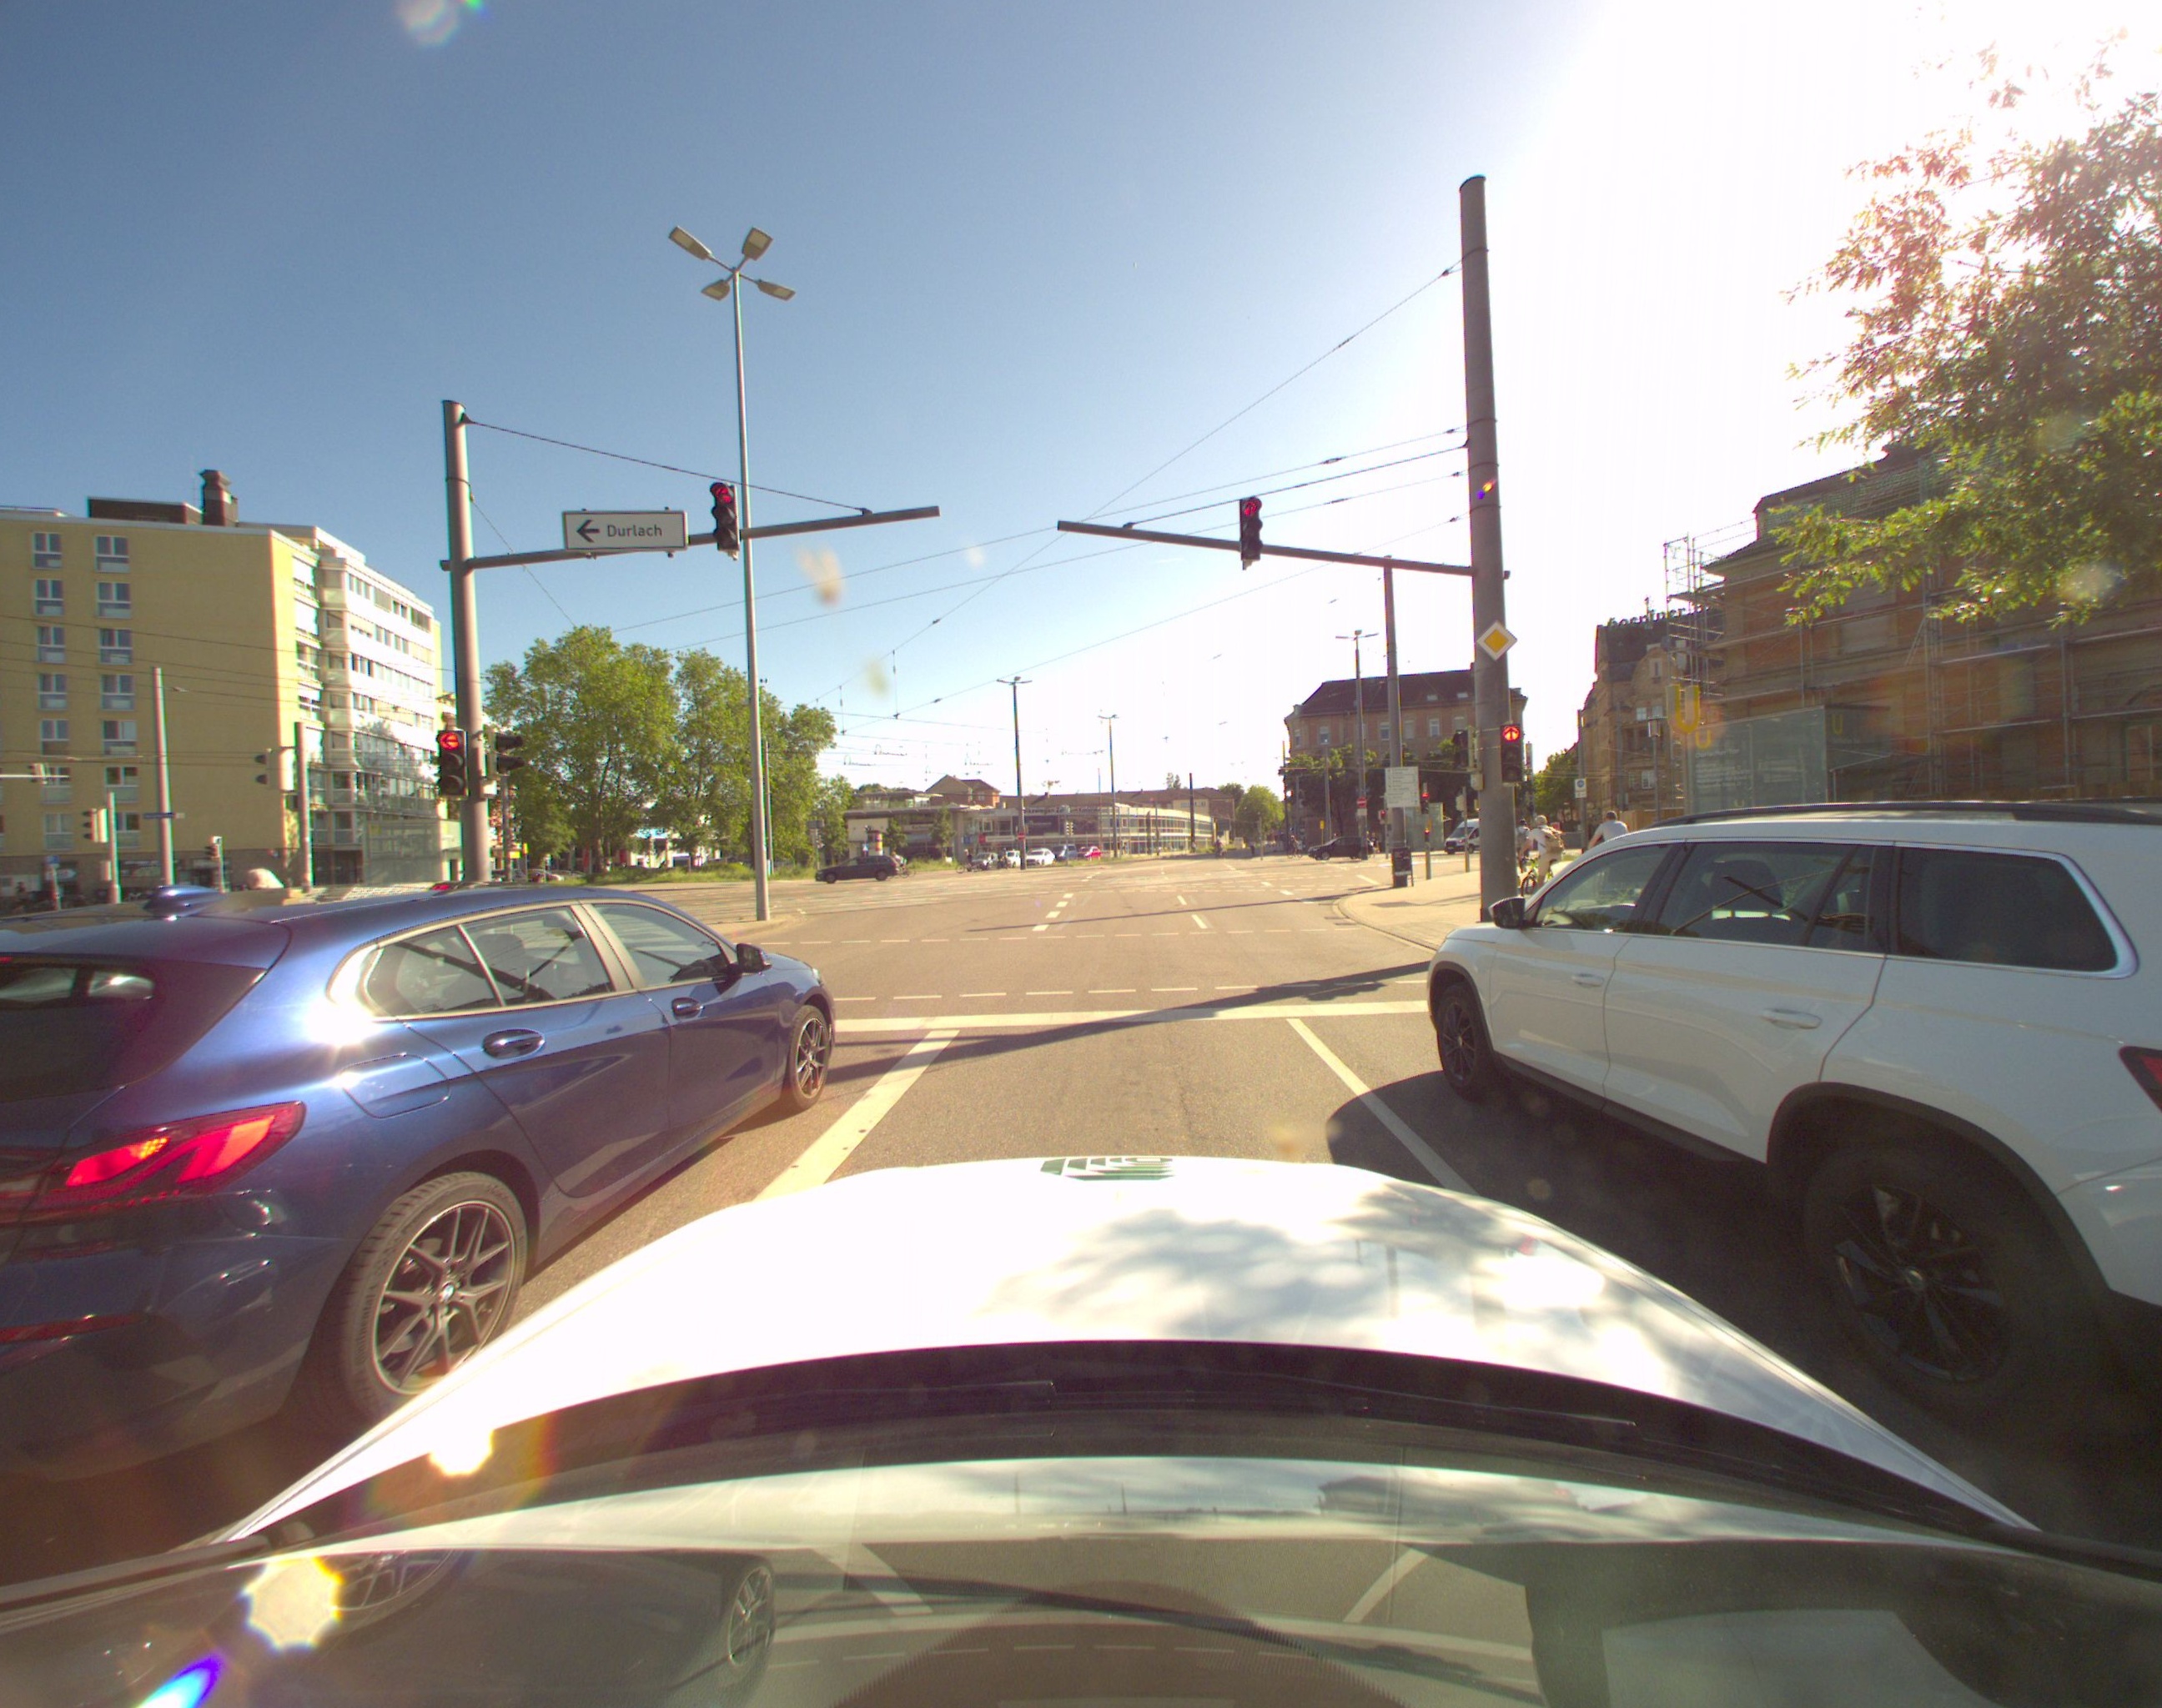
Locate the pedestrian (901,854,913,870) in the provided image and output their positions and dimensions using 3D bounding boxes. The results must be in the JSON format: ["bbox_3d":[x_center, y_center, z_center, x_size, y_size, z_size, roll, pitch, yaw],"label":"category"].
[{"bbox_3d":[-12.178,0.554,57.153,0.749,1.127,0.421,-2,0,-18],"label":"pedestrian"}]

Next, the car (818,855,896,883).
[{"bbox_3d":[-12.892,0.824,46.901,4.221,1.400,1.848,-2,0,-17],"label":"car"}]

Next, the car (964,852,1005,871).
[{"bbox_3d":[-7.648,0.548,64.989,1.689,1.354,3.719,-2,0,20],"label":"car"}]

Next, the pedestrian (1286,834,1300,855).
[{"bbox_3d":[17.323,-0.779,66.610,0.722,1.632,0.749,-2,0,-40],"label":"pedestrian"}]

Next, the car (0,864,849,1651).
[{"bbox_3d":[-2.540,0.804,3.596,1.704,1.445,4.034,-1,0,2],"label":"car"}]

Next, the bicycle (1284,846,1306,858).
[{"bbox_3d":[17.551,-0.162,66.781,1.941,0.870,0.736,-2,0,-41],"label":"bicycle"}]

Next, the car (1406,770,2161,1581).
[{"bbox_3d":[3.044,0.615,3.408,1.689,1.641,4.298,-2,0,1],"label":"car"}]

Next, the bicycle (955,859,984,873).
[{"bbox_3d":[-8.201,0.869,59.755,2.009,0.913,0.559,-2,0,-16],"label":"bicycle"}]

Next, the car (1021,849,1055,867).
[{"bbox_3d":[-3.577,0.329,68.924,1.613,1.382,3.755,-2,0,17],"label":"car"}]

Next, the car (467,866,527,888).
[{"bbox_3d":[-49.050,1.931,68.462,3.741,1.662,1.585,-2,0,-17],"label":"car"}]

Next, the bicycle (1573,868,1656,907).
[{"bbox_3d":[10.276,0.631,15.745,0.536,0.655,1.465,-3,0,-5],"label":"bicycle"}]

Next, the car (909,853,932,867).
[{"bbox_3d":[-20.575,0.763,104.498,1.958,1.706,4.086,-2,0,2],"label":"car"}]

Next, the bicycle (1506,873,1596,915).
[{"bbox_3d":[8.826,0.735,15.374,0.536,0.655,1.722,-5,0,-5],"label":"bicycle"}]

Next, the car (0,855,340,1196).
[{"bbox_3d":[-5.787,0.799,3.252,1.750,1.517,4.015,-1,0,5],"label":"car"}]

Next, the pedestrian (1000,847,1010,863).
[{"bbox_3d":[-6.032,0.093,64.467,0.419,1.204,0.753,-2,0,20],"label":"pedestrian"}]

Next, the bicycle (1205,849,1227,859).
[{"bbox_3d":[12.181,-0.013,73.441,1.934,0.870,0.739,-2,0,-25],"label":"bicycle"}]

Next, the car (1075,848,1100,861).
[{"bbox_3d":[0.691,0.028,89.944,1.613,1.364,3.704,-2,0,19],"label":"car"}]

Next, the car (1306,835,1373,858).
[{"bbox_3d":[18.713,-0.552,59.081,4.240,1.503,1.703,-2,0,-3],"label":"car"}]

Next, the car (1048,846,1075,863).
[{"bbox_3d":[-1.939,0.030,82.901,1.613,1.692,3.702,-2,0,17],"label":"car"}]

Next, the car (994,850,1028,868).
[{"bbox_3d":[-6.060,0.380,70.896,1.613,1.424,3.702,-2,0,17],"label":"car"}]

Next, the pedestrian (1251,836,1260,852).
[{"bbox_3d":[17.749,-1.017,82.818,0.739,1.523,0.722,-2,0,25],"label":"pedestrian"}]

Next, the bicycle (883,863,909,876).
[{"bbox_3d":[-12.558,1.055,55.310,1.635,0.758,0.421,-2,0,-21],"label":"bicycle"}]

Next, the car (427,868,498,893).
[{"bbox_3d":[-45.063,1.907,59.396,3.741,1.662,1.585,-2,0,-17],"label":"car"}]

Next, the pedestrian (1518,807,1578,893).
[{"bbox_3d":[8.799,-0.082,15.358,0.547,1.562,0.856,-2,0,-6],"label":"pedestrian"}]

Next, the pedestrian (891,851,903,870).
[{"bbox_3d":[-12.513,0.441,55.335,0.750,1.204,0.421,-2,0,-21],"label":"pedestrian"}]

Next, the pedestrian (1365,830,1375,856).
[{"bbox_3d":[22.666,-0.841,63.823,0.461,2.013,0.449,-2,0,-15],"label":"pedestrian"}]

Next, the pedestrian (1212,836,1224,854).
[{"bbox_3d":[12.406,-0.824,73.611,0.719,1.632,0.798,-2,0,-26],"label":"pedestrian"}]

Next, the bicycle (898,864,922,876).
[{"bbox_3d":[-12.014,1.131,57.197,1.633,0.718,0.421,-2,0,-18],"label":"bicycle"}]

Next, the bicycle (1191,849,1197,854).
[{"bbox_3d":[17.354,-0.376,124.773,0.418,0.718,1.484,-2,0,29],"label":"bicycle"}]

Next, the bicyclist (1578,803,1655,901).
[{"bbox_3d":[10.248,-0.041,15.619,0.746,1.778,0.922,-3,0,-5],"label":"bicyclist"}]

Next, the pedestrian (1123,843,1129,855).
[{"bbox_3d":[6.491,-0.699,117.032,0.537,1.688,0.634,-2,0,44],"label":"pedestrian"}]

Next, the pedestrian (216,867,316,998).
[{"bbox_3d":[-10.233,0.959,10.238,0.353,1.555,0.765,-2,0,21],"label":"pedestrian"}]

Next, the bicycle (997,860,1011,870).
[{"bbox_3d":[-6.077,0.835,64.288,0.419,0.718,1.643,-2,0,19],"label":"bicycle"}]

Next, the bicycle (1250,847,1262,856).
[{"bbox_3d":[17.739,-0.228,82.741,0.736,0.870,1.942,-2,0,25],"label":"bicycle"}]

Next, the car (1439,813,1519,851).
[{"bbox_3d":[30.430,-1.683,62.242,5.932,2.744,2.127,-2,0,-24],"label":"car"}]

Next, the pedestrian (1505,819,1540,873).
[{"bbox_3d":[15.473,-0.279,28.533,0.887,1.859,0.933,-2,0,37],"label":"pedestrian"}]

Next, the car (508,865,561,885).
[{"bbox_3d":[-50.546,1.938,75.405,3.741,1.662,1.585,-2,0,-17],"label":"car"}]

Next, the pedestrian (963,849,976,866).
[{"bbox_3d":[-8.171,0.263,59.767,0.795,1.204,0.557,-2,0,-16],"label":"pedestrian"}]

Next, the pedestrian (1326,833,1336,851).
[{"bbox_3d":[21.555,-1.016,70.214,0.541,1.517,0.711,-2,0,44],"label":"pedestrian"}]

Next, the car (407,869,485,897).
[{"bbox_3d":[-42.247,1.889,54.252,3.741,1.662,1.585,-2,0,-17],"label":"car"}]

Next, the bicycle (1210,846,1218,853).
[{"bbox_3d":[21.869,-0.736,133.606,0.803,1.045,2.138,-2,0,21],"label":"bicycle"}]
